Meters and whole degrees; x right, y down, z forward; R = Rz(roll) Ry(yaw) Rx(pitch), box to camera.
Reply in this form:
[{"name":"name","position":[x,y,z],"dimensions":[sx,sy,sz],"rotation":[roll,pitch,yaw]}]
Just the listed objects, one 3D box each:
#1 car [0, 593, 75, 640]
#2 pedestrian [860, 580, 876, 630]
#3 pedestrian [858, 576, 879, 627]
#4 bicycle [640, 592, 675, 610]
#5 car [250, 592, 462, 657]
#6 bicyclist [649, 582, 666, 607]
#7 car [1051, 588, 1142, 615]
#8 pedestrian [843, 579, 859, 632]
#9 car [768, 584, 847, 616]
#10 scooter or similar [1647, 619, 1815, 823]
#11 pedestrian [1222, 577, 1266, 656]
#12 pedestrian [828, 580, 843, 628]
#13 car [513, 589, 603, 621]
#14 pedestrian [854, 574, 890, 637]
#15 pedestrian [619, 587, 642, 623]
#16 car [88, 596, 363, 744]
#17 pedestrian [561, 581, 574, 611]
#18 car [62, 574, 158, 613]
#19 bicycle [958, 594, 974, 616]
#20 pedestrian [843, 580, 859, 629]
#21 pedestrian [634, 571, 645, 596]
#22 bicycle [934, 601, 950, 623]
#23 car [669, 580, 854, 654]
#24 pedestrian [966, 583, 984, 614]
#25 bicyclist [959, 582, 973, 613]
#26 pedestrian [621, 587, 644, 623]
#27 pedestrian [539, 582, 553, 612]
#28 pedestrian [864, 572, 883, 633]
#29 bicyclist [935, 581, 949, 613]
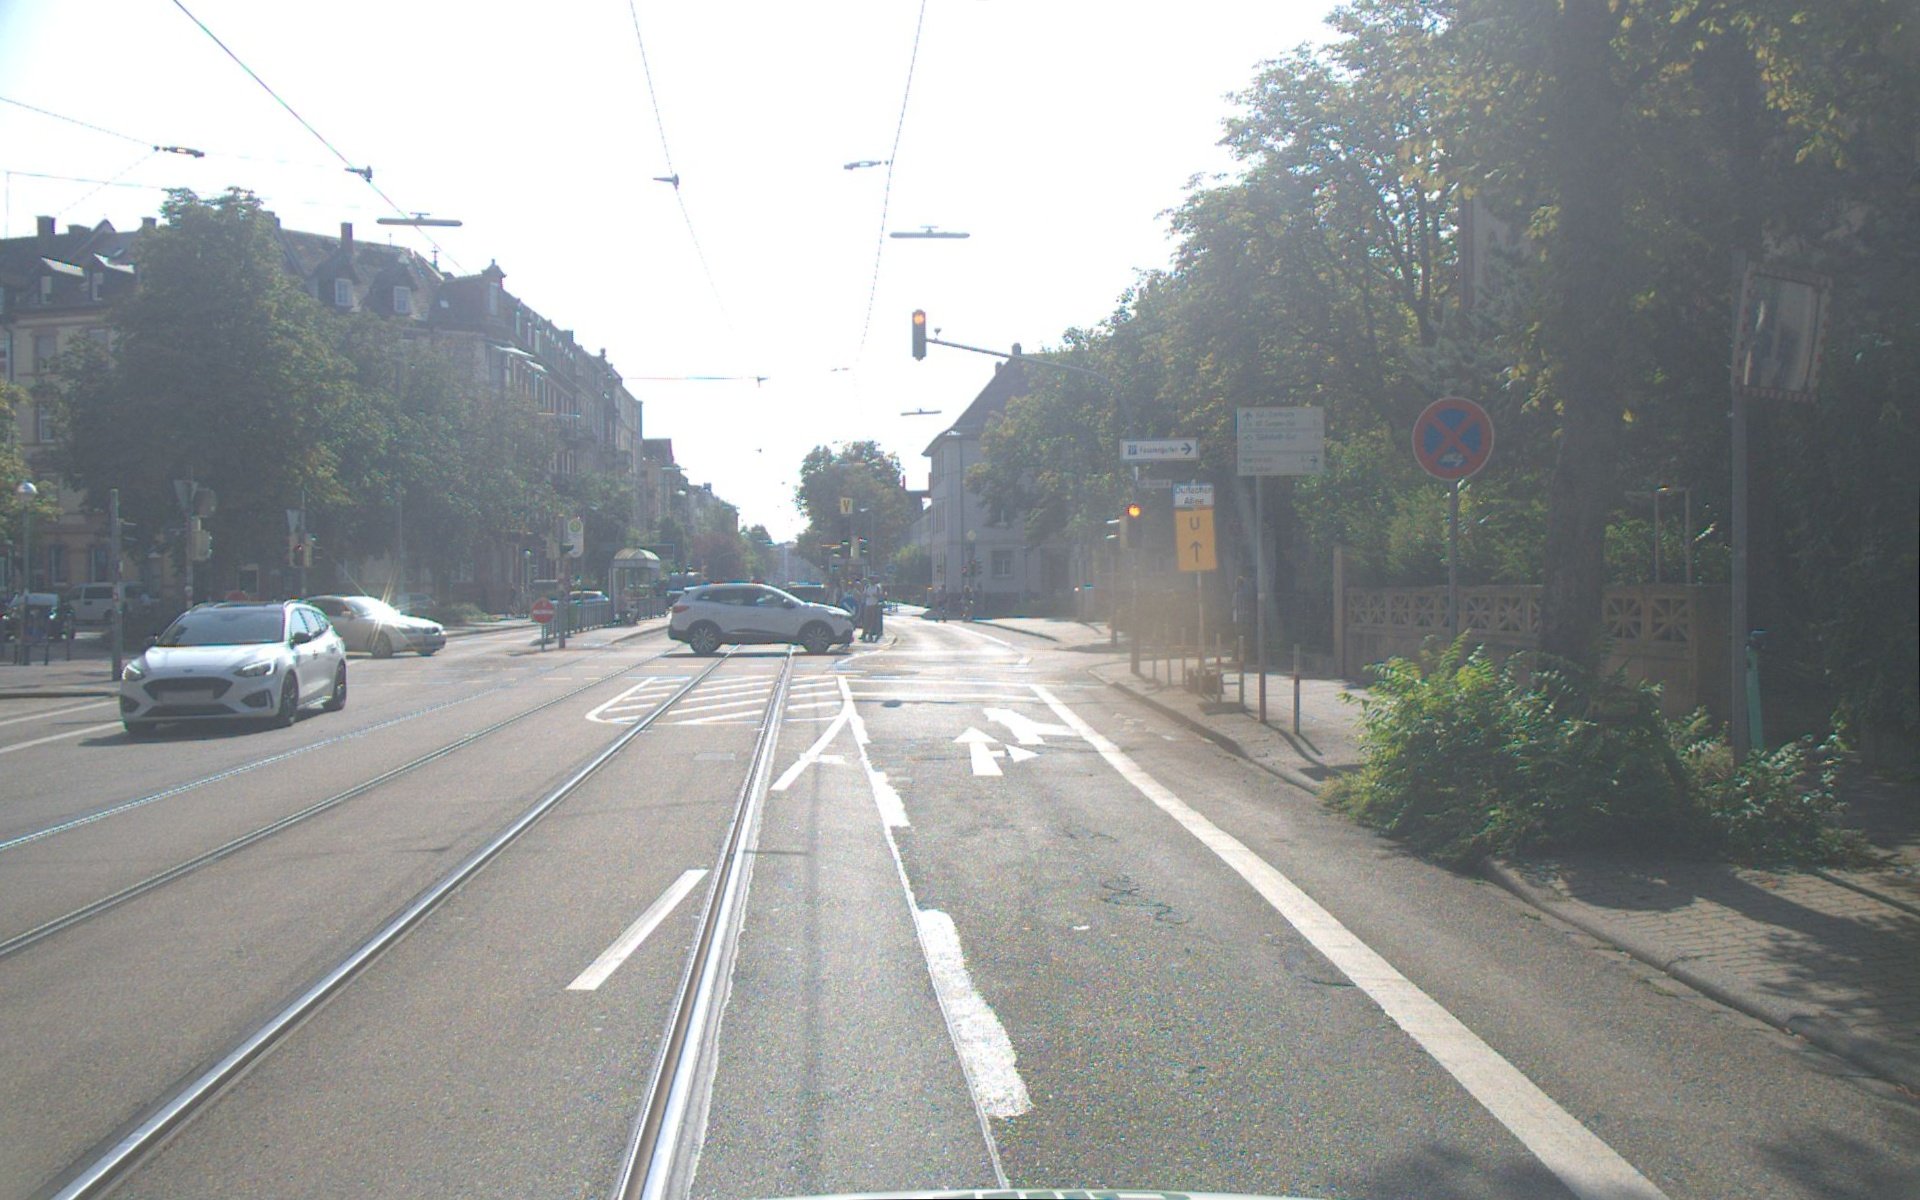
[{"name":"car","position":[-31.259,0.537,55.945],"dimensions":[1.839,1.492,4.753],"rotation":[-1,1,-23]},{"name":"pedestrian","position":[-3.409,0.174,61.156],"dimensions":[0.494,1.790,0.533],"rotation":[2,2,-5]},{"name":"pedestrian","position":[-3.348,0.048,60.542],"dimensions":[0.695,1.790,0.533],"rotation":[2,2,-5]},{"name":"bicycle","position":[-16.395,0.043,89.776],"dimensions":[1.814,0.974,0.548],"rotation":[-1,0,-4]},{"name":"car","position":[-14.669,0.575,40.186],"dimensions":[4.670,1.492,1.871],"rotation":[0,0,18]},{"name":"bicyclist","position":[-16.420,-0.313,89.766],"dimensions":[0.803,1.351,0.548],"rotation":[-1,0,-4]},{"name":"car","position":[6.976,0.070,84.898],"dimensions":[4.247,1.343,1.994],"rotation":[0,0,34]},{"name":"pedestrian","position":[-3.720,0.183,56.304],"dimensions":[0.494,1.790,0.533],"rotation":[2,2,-5]},{"name":"car","position":[-8.331,-0.026,90.378],"dimensions":[4.238,1.705,1.998],"rotation":[0,0,-6]},{"name":"scooter or similar","position":[5.013,0.758,10.808],"dimensions":[0.546,1.218,1.034],"rotation":[-3,0,0]},{"name":"pedestrian","position":[6.435,0.363,37.461],"dimensions":[0.737,1.761,0.769],"rotation":[0,0,-14]},{"name":"pedestrian","position":[-4.699,0.149,62.474],"dimensions":[0.521,1.790,0.544],"rotation":[2,2,-4]},{"name":"car","position":[-20.885,0.264,85.978],"dimensions":[4.269,1.596,1.983],"rotation":[-1,0,-26]},{"name":"pedestrian","position":[-2.523,0.157,47.411],"dimensions":[0.686,1.755,0.747],"rotation":[3,3,28]},{"name":"pedestrian","position":[-12.609,0.193,63.239],"dimensions":[0.812,1.382,0.774],"rotation":[0,0,-9]},{"name":"car","position":[-8.836,0.750,20.345],"dimensions":[1.837,1.480,4.537],"rotation":[-3,1,-8]},{"name":"pedestrian","position":[-23.650,-0.228,99.719],"dimensions":[0.521,1.790,0.545],"rotation":[3,2,21]},{"name":"car","position":[-41.671,-0.312,81.098],"dimensions":[3.903,1.860,2.001],"rotation":[0,0,17]},{"name":"bicycle","position":[0.302,0.220,78.614],"dimensions":[0.547,0.995,1.854],"rotation":[-1,1,-6]},{"name":"pedestrian","position":[-4.037,0.162,61.107],"dimensions":[0.532,1.790,0.533],"rotation":[2,2,-5]},{"name":"pedestrian","position":[-22.897,-1.182,118.317],"dimensions":[0.737,1.761,0.769],"rotation":[0,0,-14]},{"name":"bicycle","position":[-0.868,0.560,78.946],"dimensions":[0.617,0.995,1.768],"rotation":[-1,1,-6]},{"name":"car","position":[-4.647,0.377,39.238],"dimensions":[4.233,1.659,1.998],"rotation":[-1,0,-4]},{"name":"pedestrian","position":[0.886,-0.091,97.343],"dimensions":[0.872,1.771,0.777],"rotation":[0,0,16]},{"name":"bicyclist","position":[0.291,-0.126,78.625],"dimensions":[0.547,1.441,0.870],"rotation":[-1,0,-6]},{"name":"pedestrian","position":[-12.712,0.189,64.210],"dimensions":[0.812,1.382,0.774],"rotation":[0,0,-9]},{"name":"pedestrian","position":[-24.462,-0.182,97.694],"dimensions":[0.521,1.720,0.545],"rotation":[3,2,15]},{"name":"pedestrian","position":[-2.703,0.085,51.673],"dimensions":[0.494,1.865,0.533],"rotation":[2,2,-5]},{"name":"bicyclist","position":[-0.869,-0.154,78.941],"dimensions":[0.617,1.534,0.677],"rotation":[-1,0,-7]}]
